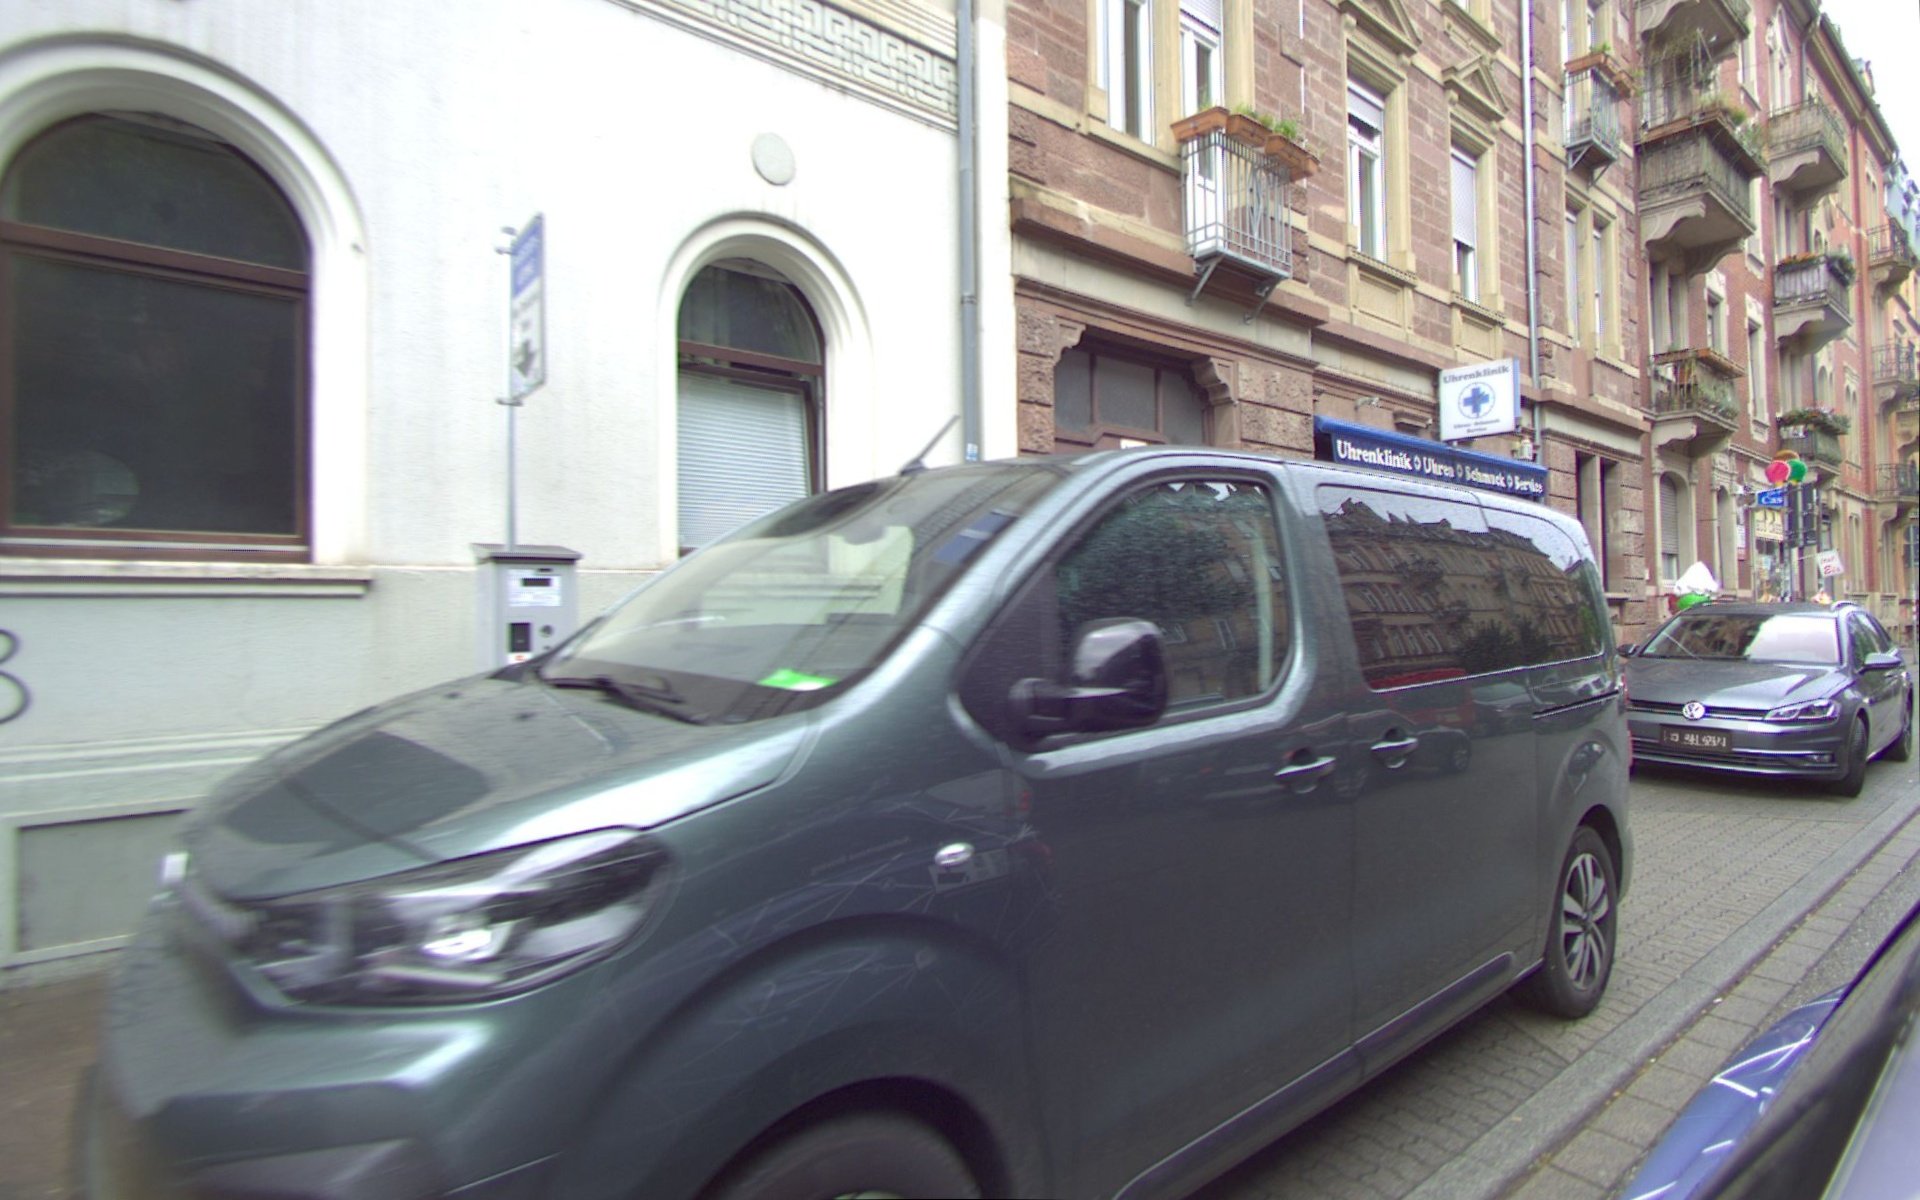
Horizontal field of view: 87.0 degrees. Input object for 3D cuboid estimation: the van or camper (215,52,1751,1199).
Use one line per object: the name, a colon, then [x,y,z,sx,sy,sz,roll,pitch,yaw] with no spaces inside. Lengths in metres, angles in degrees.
van or camper: [0.707,0.441,3.319,4.965,1.915,2.025,0,0,-40]

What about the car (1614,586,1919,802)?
car: [7.746,0.675,9.354,3.933,1.565,1.844,0,0,-41]

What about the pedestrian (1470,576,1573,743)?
pedestrian: [5.763,0.577,10.393,0.795,1.634,0.680,0,0,-39]
